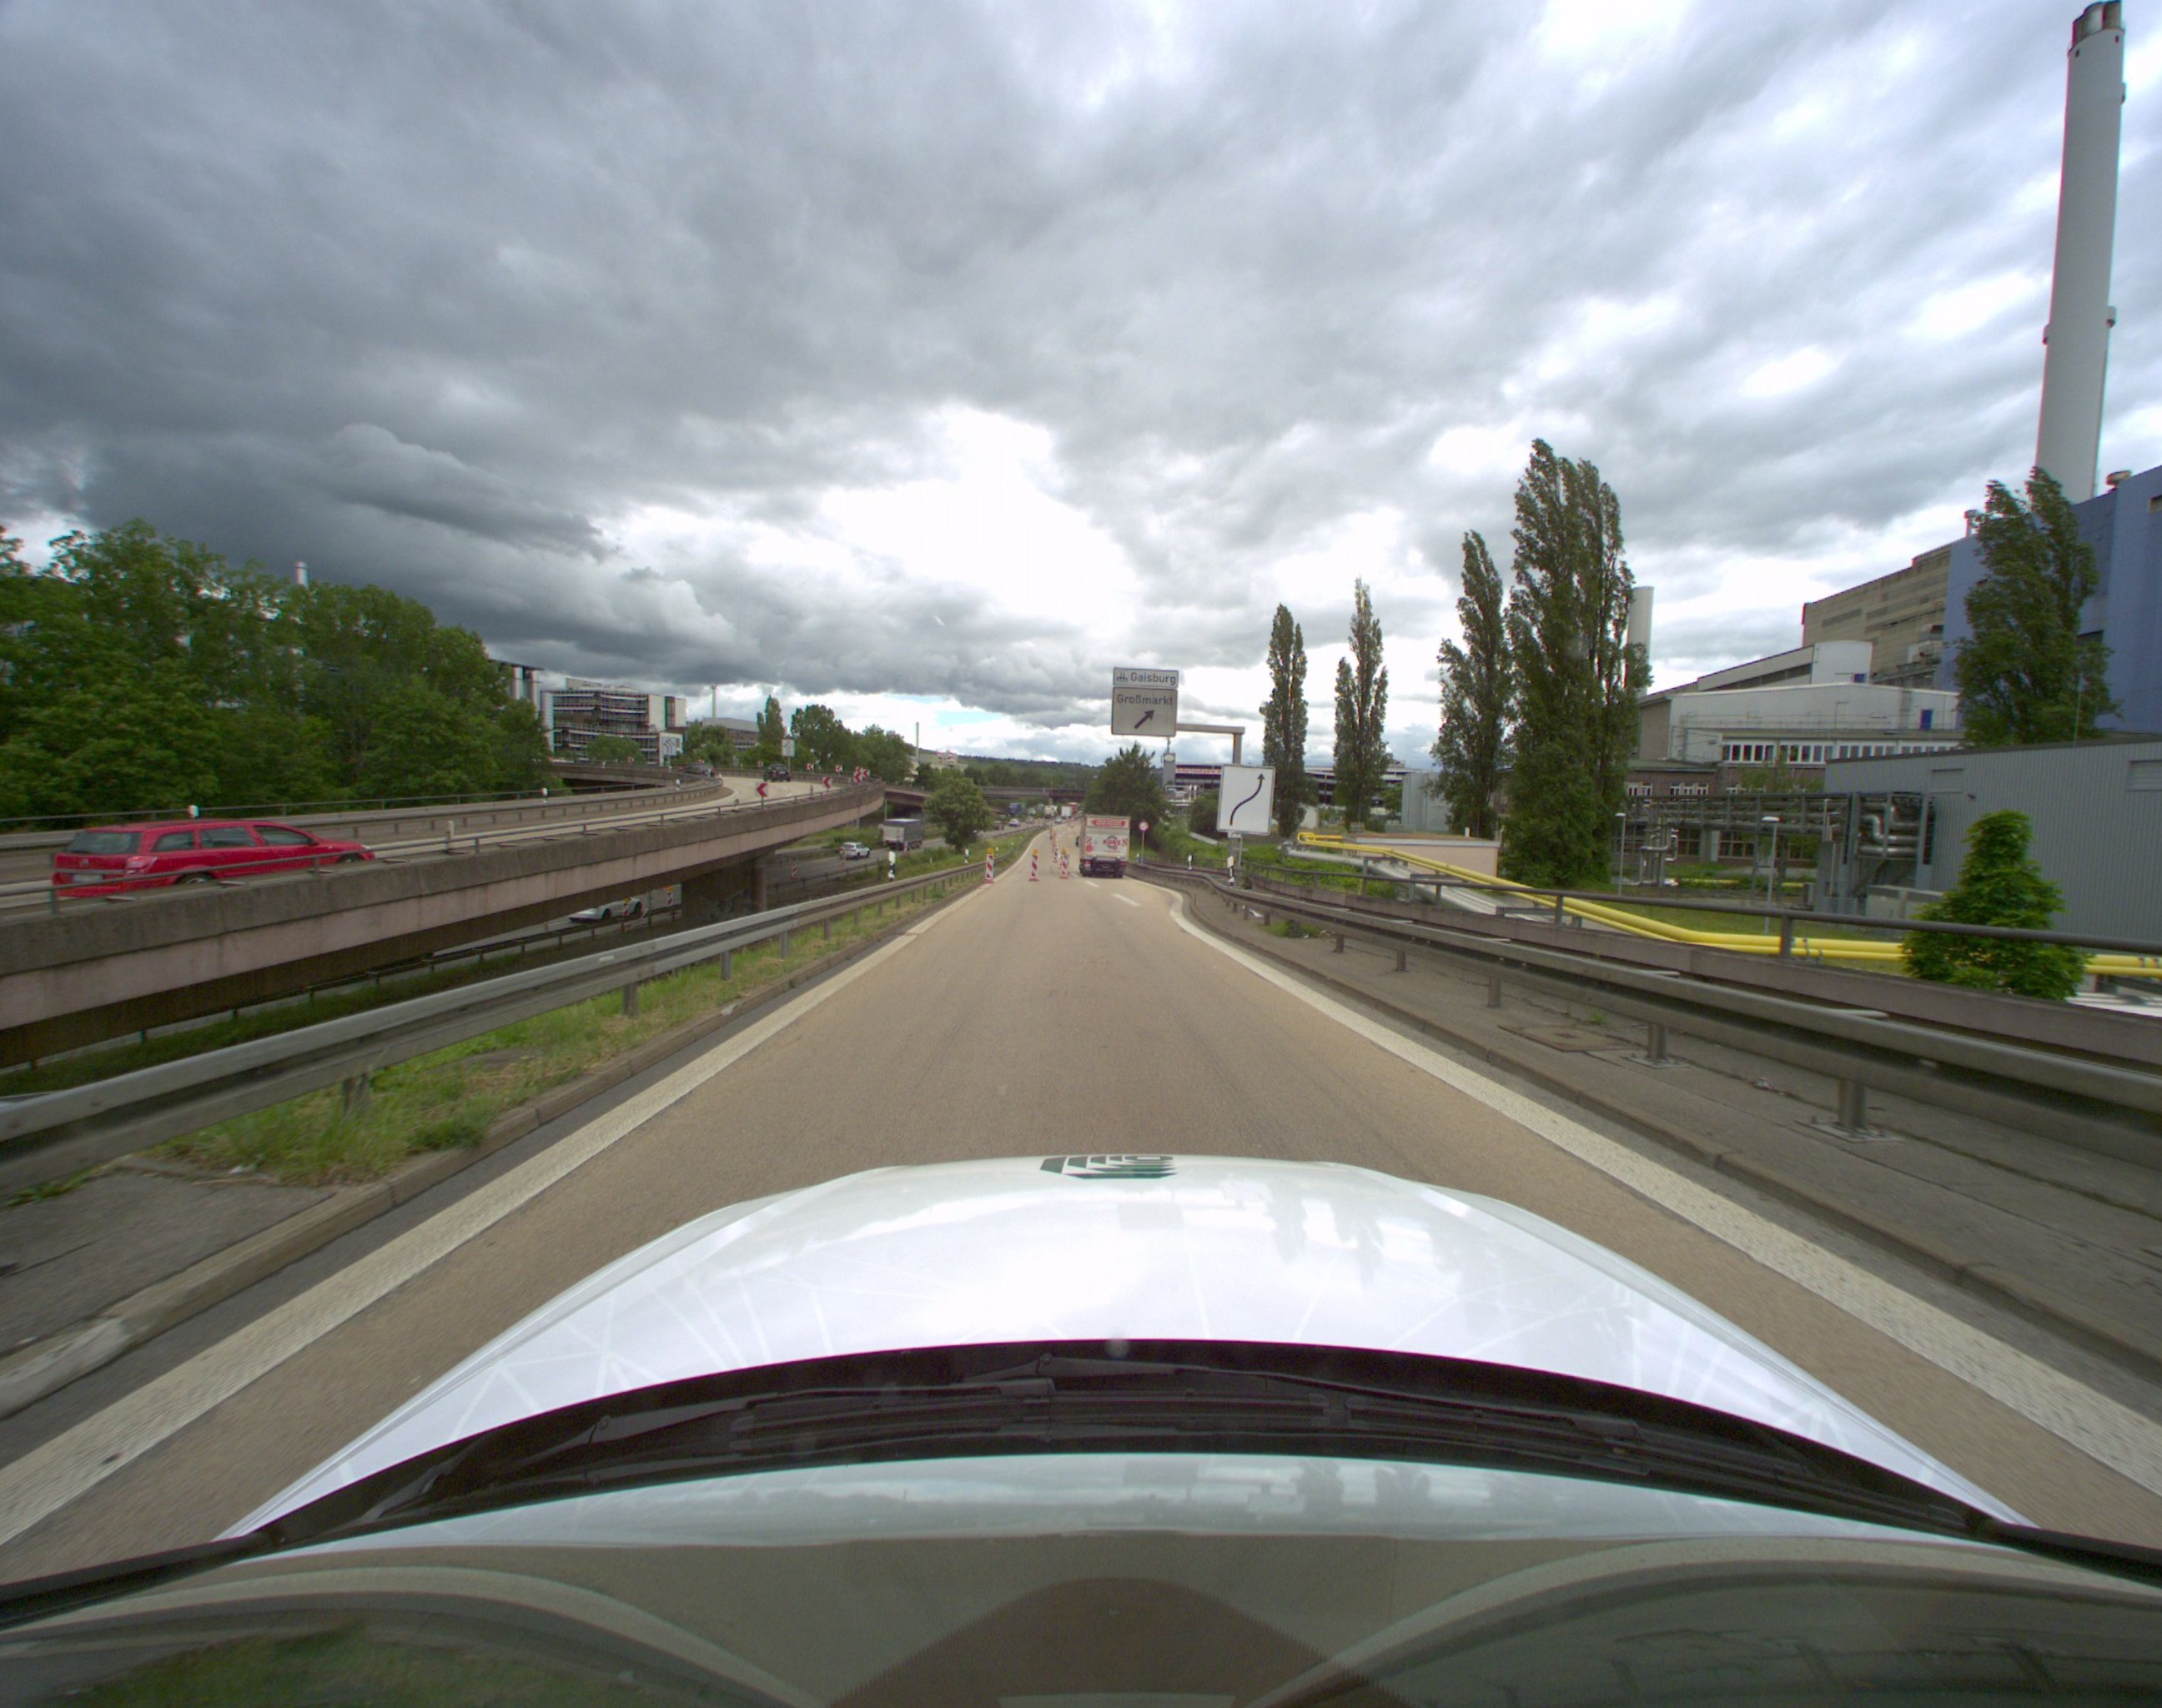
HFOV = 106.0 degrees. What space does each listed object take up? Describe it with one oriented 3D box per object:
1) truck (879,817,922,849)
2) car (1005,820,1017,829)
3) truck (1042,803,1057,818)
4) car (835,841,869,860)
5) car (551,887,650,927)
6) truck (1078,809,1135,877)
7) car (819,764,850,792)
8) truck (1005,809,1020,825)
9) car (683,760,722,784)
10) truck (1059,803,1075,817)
[{"bbox_3d":[-21.836,-2.622,98.985,3.038,3.654,7.405,2,3,3],"label":"truck"},{"bbox_3d":[-14.813,-6.254,171.745,1.986,1.617,4.004,2,3,2],"label":"car"},{"bbox_3d":[-8.610,-11.772,222.205,3.273,3.851,7.672,2,3,2],"label":"truck"},{"bbox_3d":[-23.533,-0.420,83.835,1.983,1.712,4.110,2,3,7],"label":"car"},{"bbox_3d":[-25.396,2.757,43.241,1.983,1.455,4.812,2,3,7],"label":"car"},{"bbox_3d":[1.387,-0.706,49.086,3.041,3.672,7.927,2,1,0],"label":"truck"},{"bbox_3d":[-19.287,-5.906,63.867,1.995,1.772,3.983,1,0,-13],"label":"car"},{"bbox_3d":[-18.962,-10.389,225.878,2.738,4.270,5.515,2,3,6],"label":"truck"},{"bbox_3d":[-34.659,-7.452,74.477,3.951,1.772,2.012,1,0,45],"label":"car"},{"bbox_3d":[-3.880,-12.337,228.093,3.269,3.598,7.682,2,3,7],"label":"truck"}]
